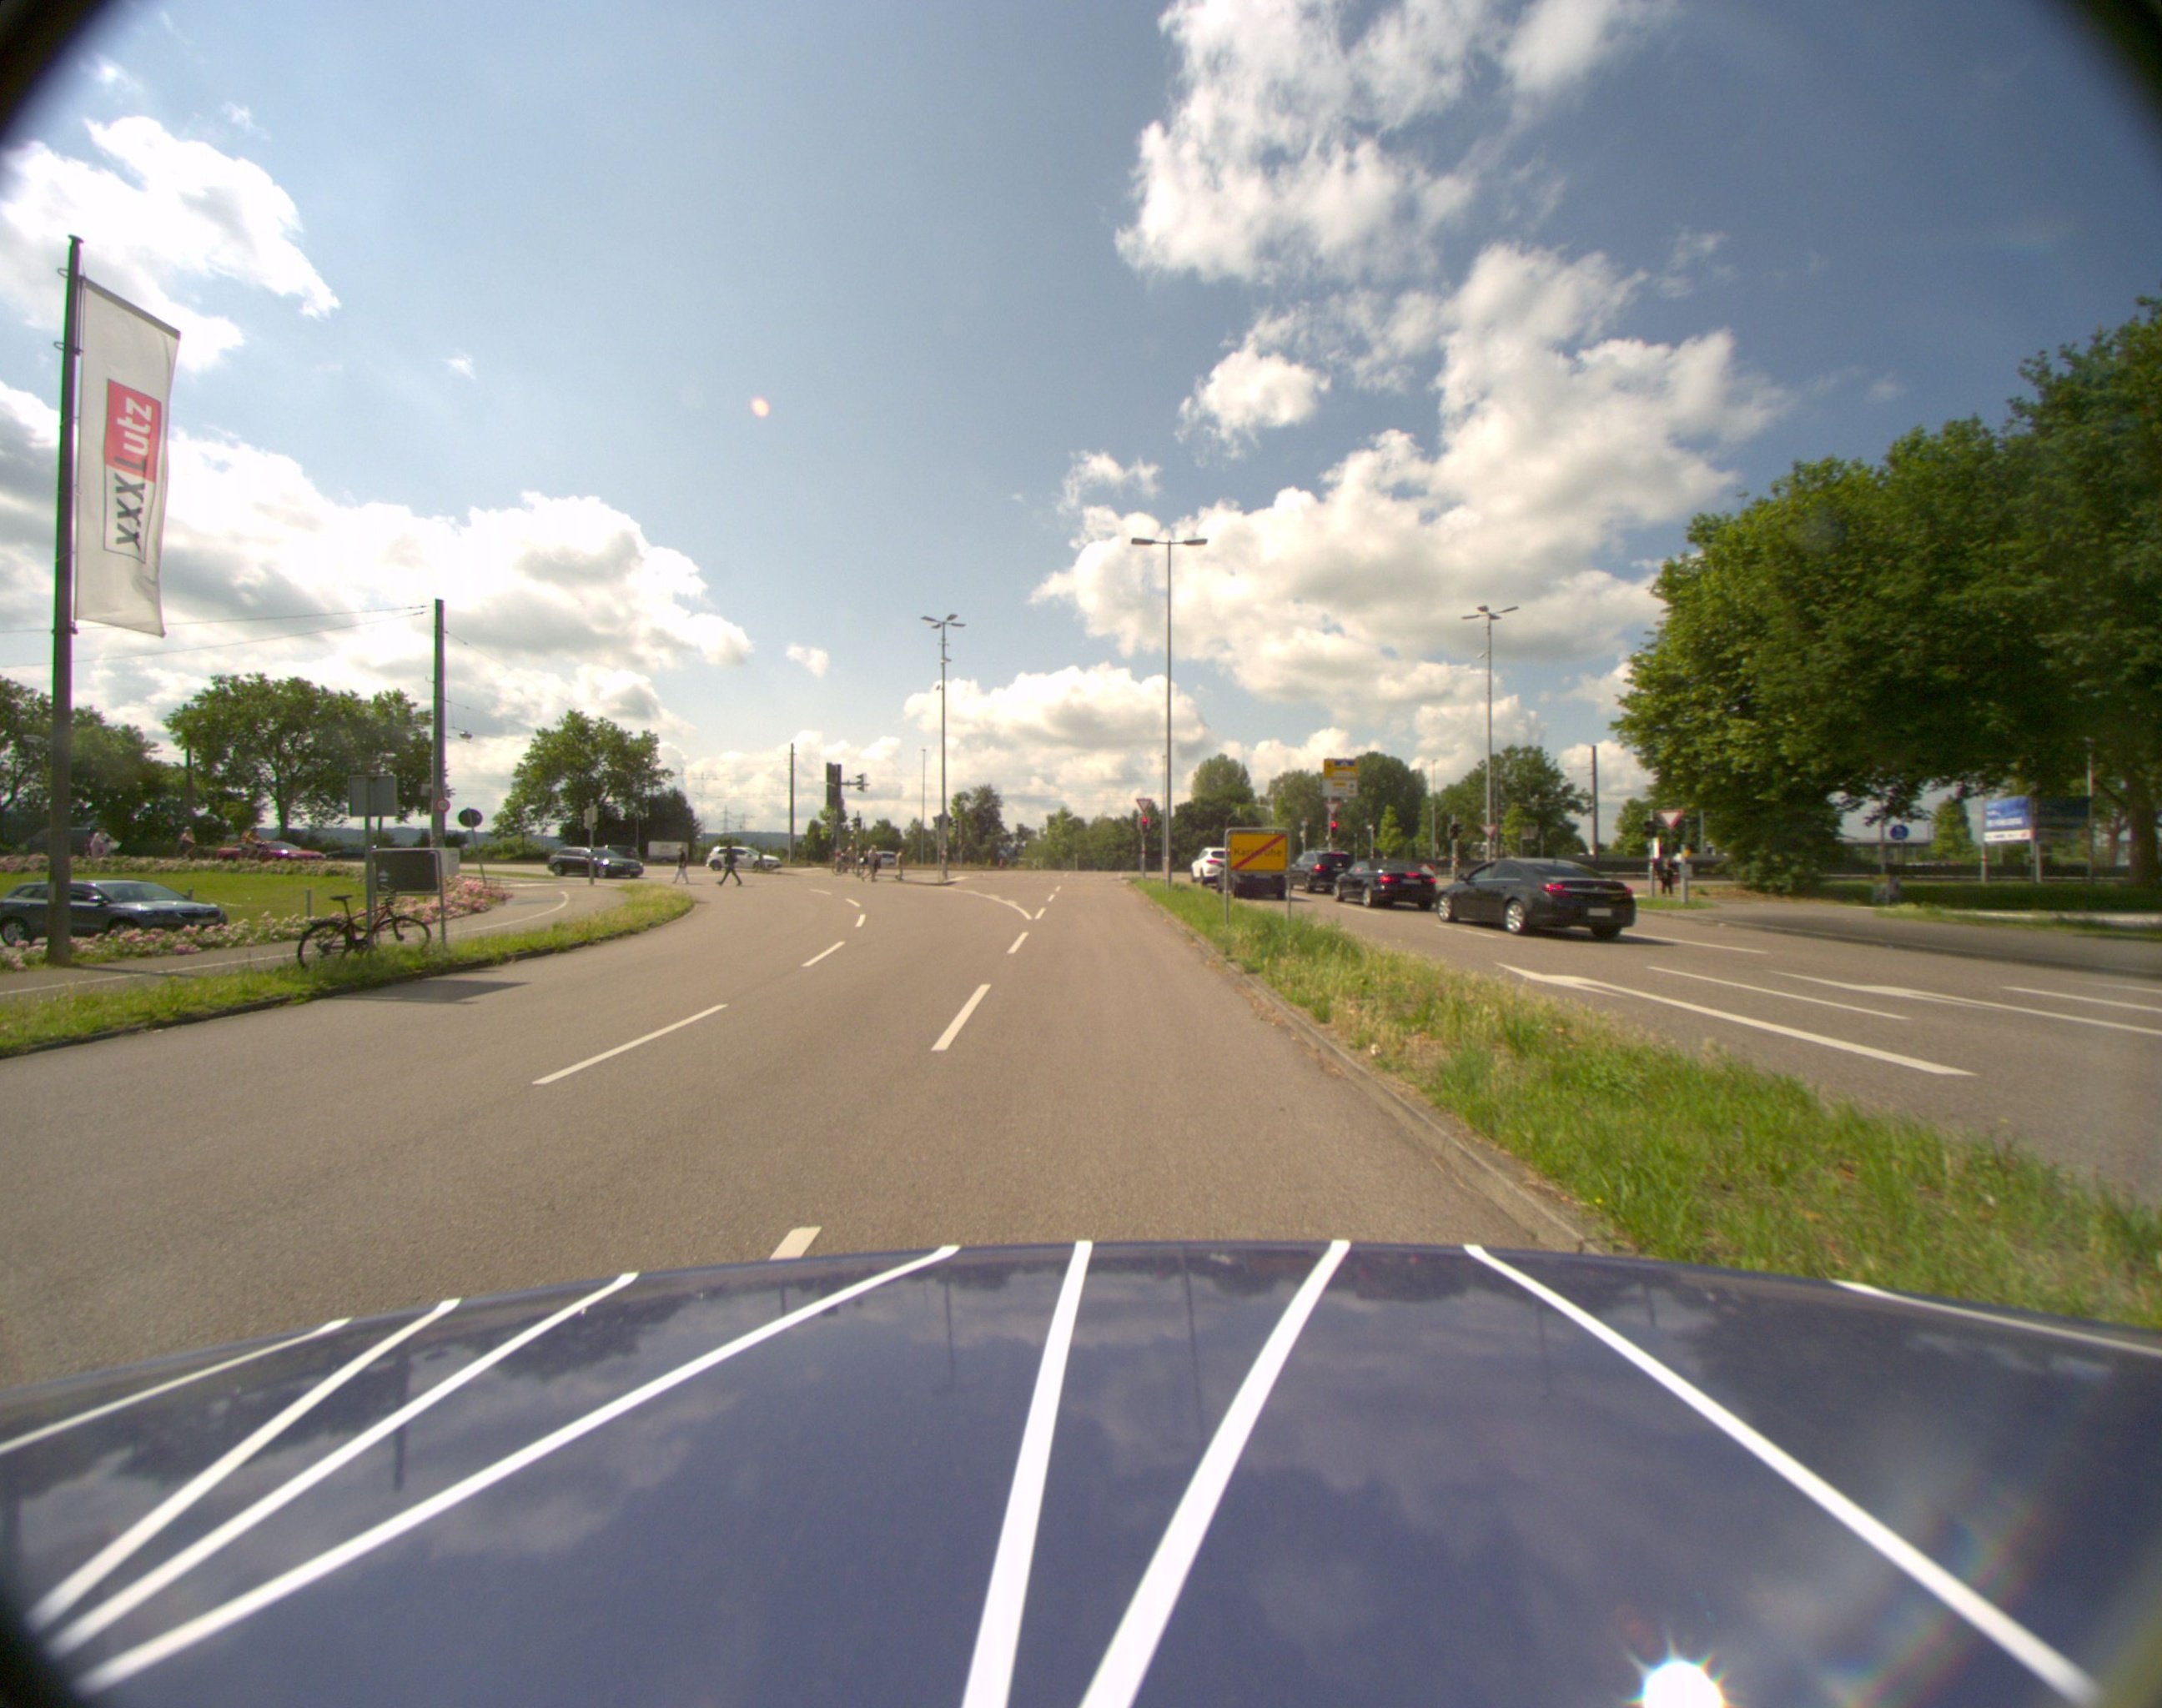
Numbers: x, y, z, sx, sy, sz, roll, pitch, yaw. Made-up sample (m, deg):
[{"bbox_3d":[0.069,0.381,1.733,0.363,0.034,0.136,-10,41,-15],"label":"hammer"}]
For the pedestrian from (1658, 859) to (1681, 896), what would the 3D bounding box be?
[{"bbox_3d":[24.075,0.952,31.077,0.439,1.481,0.619,-1,1,-16],"label":"pedestrian"}]

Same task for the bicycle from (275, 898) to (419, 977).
[{"bbox_3d":[-10.457,1.155,10.899,0.518,0.947,1.544,-1,1,1],"label":"bicycle"}]

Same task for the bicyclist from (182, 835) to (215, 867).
[{"bbox_3d":[-40.353,-0.131,34.753,0.742,1.466,0.651,-1,0,2],"label":"bicyclist"}]

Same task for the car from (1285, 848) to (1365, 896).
[{"bbox_3d":[9.335,0.631,29.387,1.775,1.606,3.999,2,1,0],"label":"car"}]

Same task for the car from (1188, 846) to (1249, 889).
[{"bbox_3d":[5.690,0.511,31.916,1.712,1.610,4.377,2,1,0],"label":"car"}]

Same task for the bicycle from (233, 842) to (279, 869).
[{"bbox_3d":[-37.446,0.077,34.502,1.503,1.158,0.621,-1,0,6],"label":"bicycle"}]

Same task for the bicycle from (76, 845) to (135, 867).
[{"bbox_3d":[-44.938,0.106,35.011,1.986,0.955,0.597,-1,0,1],"label":"bicycle"}]

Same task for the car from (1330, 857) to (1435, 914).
[{"bbox_3d":[8.589,0.832,21.984,1.415,1.383,4.096,2,0,1],"label":"car"}]

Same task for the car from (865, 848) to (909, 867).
[{"bbox_3d":[-17.017,0.273,66.720,3.491,1.448,1.699,-3,3,-7],"label":"car"}]

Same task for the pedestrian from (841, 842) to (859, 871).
[{"bbox_3d":[-12.776,0.136,41.989,0.687,1.526,0.506,7,-4,-28],"label":"pedestrian"}]

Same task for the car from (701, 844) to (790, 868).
[{"bbox_3d":[-20.401,0.140,46.314,4.495,1.405,2.013,0,0,-2],"label":"car"}]

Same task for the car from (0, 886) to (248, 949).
[{"bbox_3d":[-23.779,1.543,18.986,3.997,1.410,1.715,0,1,-1],"label":"car"}]

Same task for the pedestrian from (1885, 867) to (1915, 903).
[{"bbox_3d":[30.431,1.151,28.235,0.491,1.316,0.538,0,1,1],"label":"pedestrian"}]

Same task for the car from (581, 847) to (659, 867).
[{"bbox_3d":[-38.752,0.271,63.969,5.251,1.564,1.999,1,-1,-5],"label":"car"}]

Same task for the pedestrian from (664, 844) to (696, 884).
[{"bbox_3d":[-17.826,0.428,33.778,0.860,1.755,0.867,0,1,28],"label":"pedestrian"}]

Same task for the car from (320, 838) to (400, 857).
[{"bbox_3d":[-62.501,-0.528,65.943,4.781,1.499,1.966,1,-2,-7],"label":"car"}]

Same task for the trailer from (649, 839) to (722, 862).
[{"bbox_3d":[-33.551,-0.302,64.575,5.181,1.820,1.824,0,1,-6],"label":"trailer"}]

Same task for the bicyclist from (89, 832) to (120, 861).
[{"bbox_3d":[-45.004,-0.354,35.014,0.687,1.317,0.593,-1,0,2],"label":"bicyclist"}]

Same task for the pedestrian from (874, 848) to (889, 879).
[{"bbox_3d":[-9.885,0.478,37.629,0.584,1.515,0.469,0,1,10],"label":"pedestrian"}]

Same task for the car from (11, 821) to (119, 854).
[{"bbox_3d":[-85.275,-1.341,63.844,5.675,2.588,1.992,1,-2,-7],"label":"car"}]

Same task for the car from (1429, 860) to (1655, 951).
[{"bbox_3d":[8.724,0.879,14.936,1.668,1.413,4.518,2,0,0],"label":"car"}]

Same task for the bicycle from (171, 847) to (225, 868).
[{"bbox_3d":[-40.349,0.157,34.736,1.695,0.955,0.666,-1,0,1],"label":"bicycle"}]

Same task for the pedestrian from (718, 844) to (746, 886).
[{"bbox_3d":[-15.053,0.457,32.779,0.820,1.792,0.761,0,1,28],"label":"pedestrian"}]

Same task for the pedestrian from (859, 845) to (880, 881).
[{"bbox_3d":[-10.118,0.419,36.347,0.688,1.718,0.701,1,2,12],"label":"pedestrian"}]

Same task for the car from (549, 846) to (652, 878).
[{"bbox_3d":[-23.527,0.348,37.232,4.193,1.474,1.918,1,1,15],"label":"car"}]

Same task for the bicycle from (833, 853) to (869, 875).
[{"bbox_3d":[-12.710,0.546,42.011,1.699,1.040,0.506,8,-4,-28],"label":"bicycle"}]

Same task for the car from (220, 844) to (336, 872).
[{"bbox_3d":[-41.759,0.187,39.561,4.245,1.352,1.749,1,1,2],"label":"car"}]

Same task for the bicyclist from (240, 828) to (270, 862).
[{"bbox_3d":[-37.521,-0.386,34.521,0.696,1.526,0.621,-1,0,5],"label":"bicyclist"}]

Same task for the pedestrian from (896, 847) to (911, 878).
[{"bbox_3d":[-8.866,0.438,38.003,0.556,1.515,0.470,-1,0,10],"label":"pedestrian"}]

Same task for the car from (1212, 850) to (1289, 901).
[{"bbox_3d":[5.496,0.648,25.178,1.608,1.485,4.132,2,1,0],"label":"car"}]
